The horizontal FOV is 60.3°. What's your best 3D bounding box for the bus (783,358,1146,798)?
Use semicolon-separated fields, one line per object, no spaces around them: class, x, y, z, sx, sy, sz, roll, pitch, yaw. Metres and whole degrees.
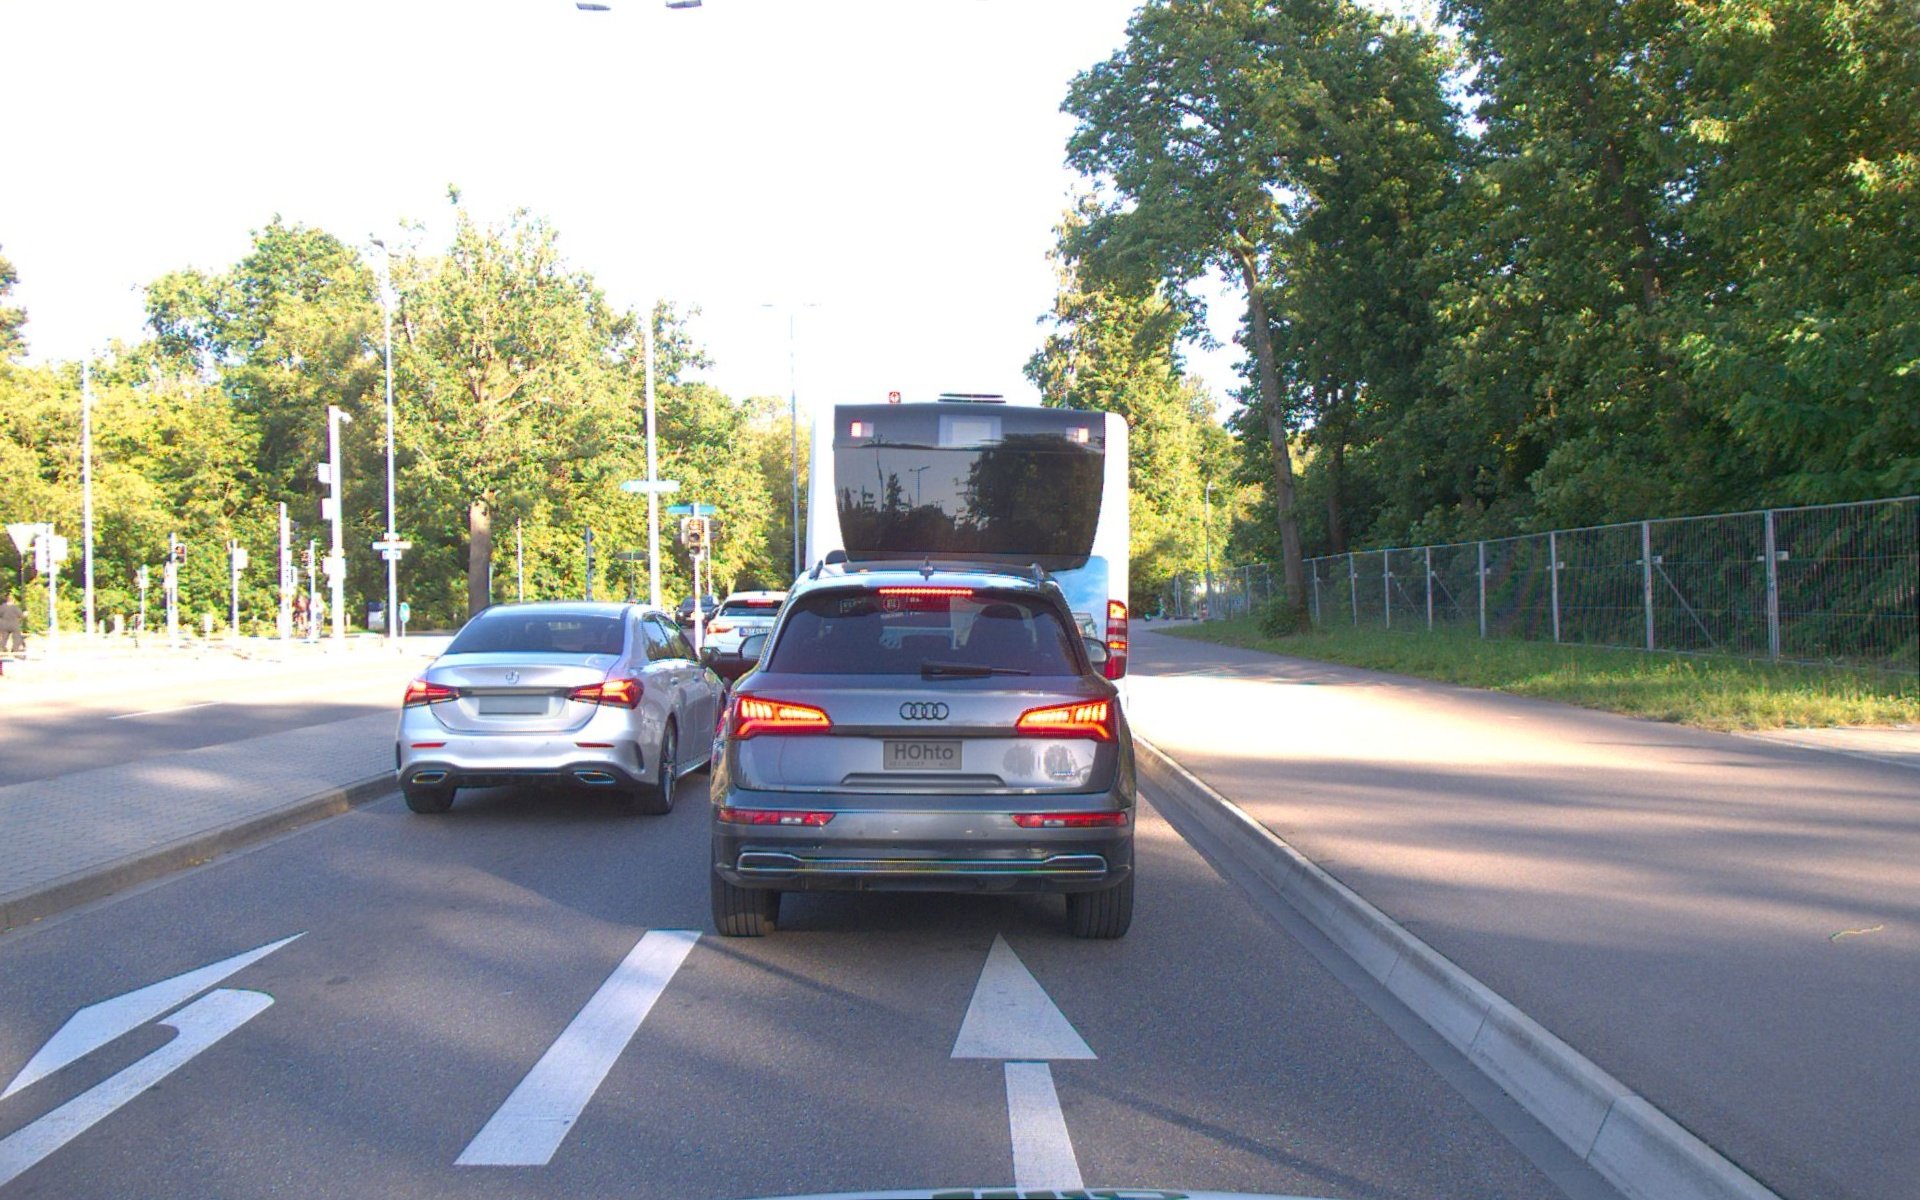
bus;0.058;-0.200;15.133;2.623;3.196;5.882;1;1;0

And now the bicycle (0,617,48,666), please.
bicycle;-24.146;1.045;42.361;0.458;1.198;2.003;1;0;-1

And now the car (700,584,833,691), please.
car;-3.133;0.565;27.466;1.771;1.599;4.000;1;1;-1

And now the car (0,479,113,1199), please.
car;-2.441;0.573;0.867;1.683;1.608;4.433;1;-1;0

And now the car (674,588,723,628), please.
car;-11.872;0.356;75.280;1.955;1.691;3.995;-2;0;-6

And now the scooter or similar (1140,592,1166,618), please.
scooter or similar;9.115;0.244;78.089;1.158;1.195;0.659;1;0;10

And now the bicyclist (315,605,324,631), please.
bicyclist;-24.704;0.701;63.778;0.268;0.979;0.240;1;-1;-8

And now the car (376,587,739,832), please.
car;-2.790;0.670;12.445;1.749;1.469;4.277;1;1;-1

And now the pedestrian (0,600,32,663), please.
pedestrian;-24.152;0.803;42.293;0.472;1.589;0.648;1;-1;-1

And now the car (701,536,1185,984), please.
car;-0.090;0.590;8.342;1.830;1.693;4.000;1;1;-1

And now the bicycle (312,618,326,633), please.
bicycle;-24.705;0.981;63.746;0.261;0.592;0.838;1;0;-6
